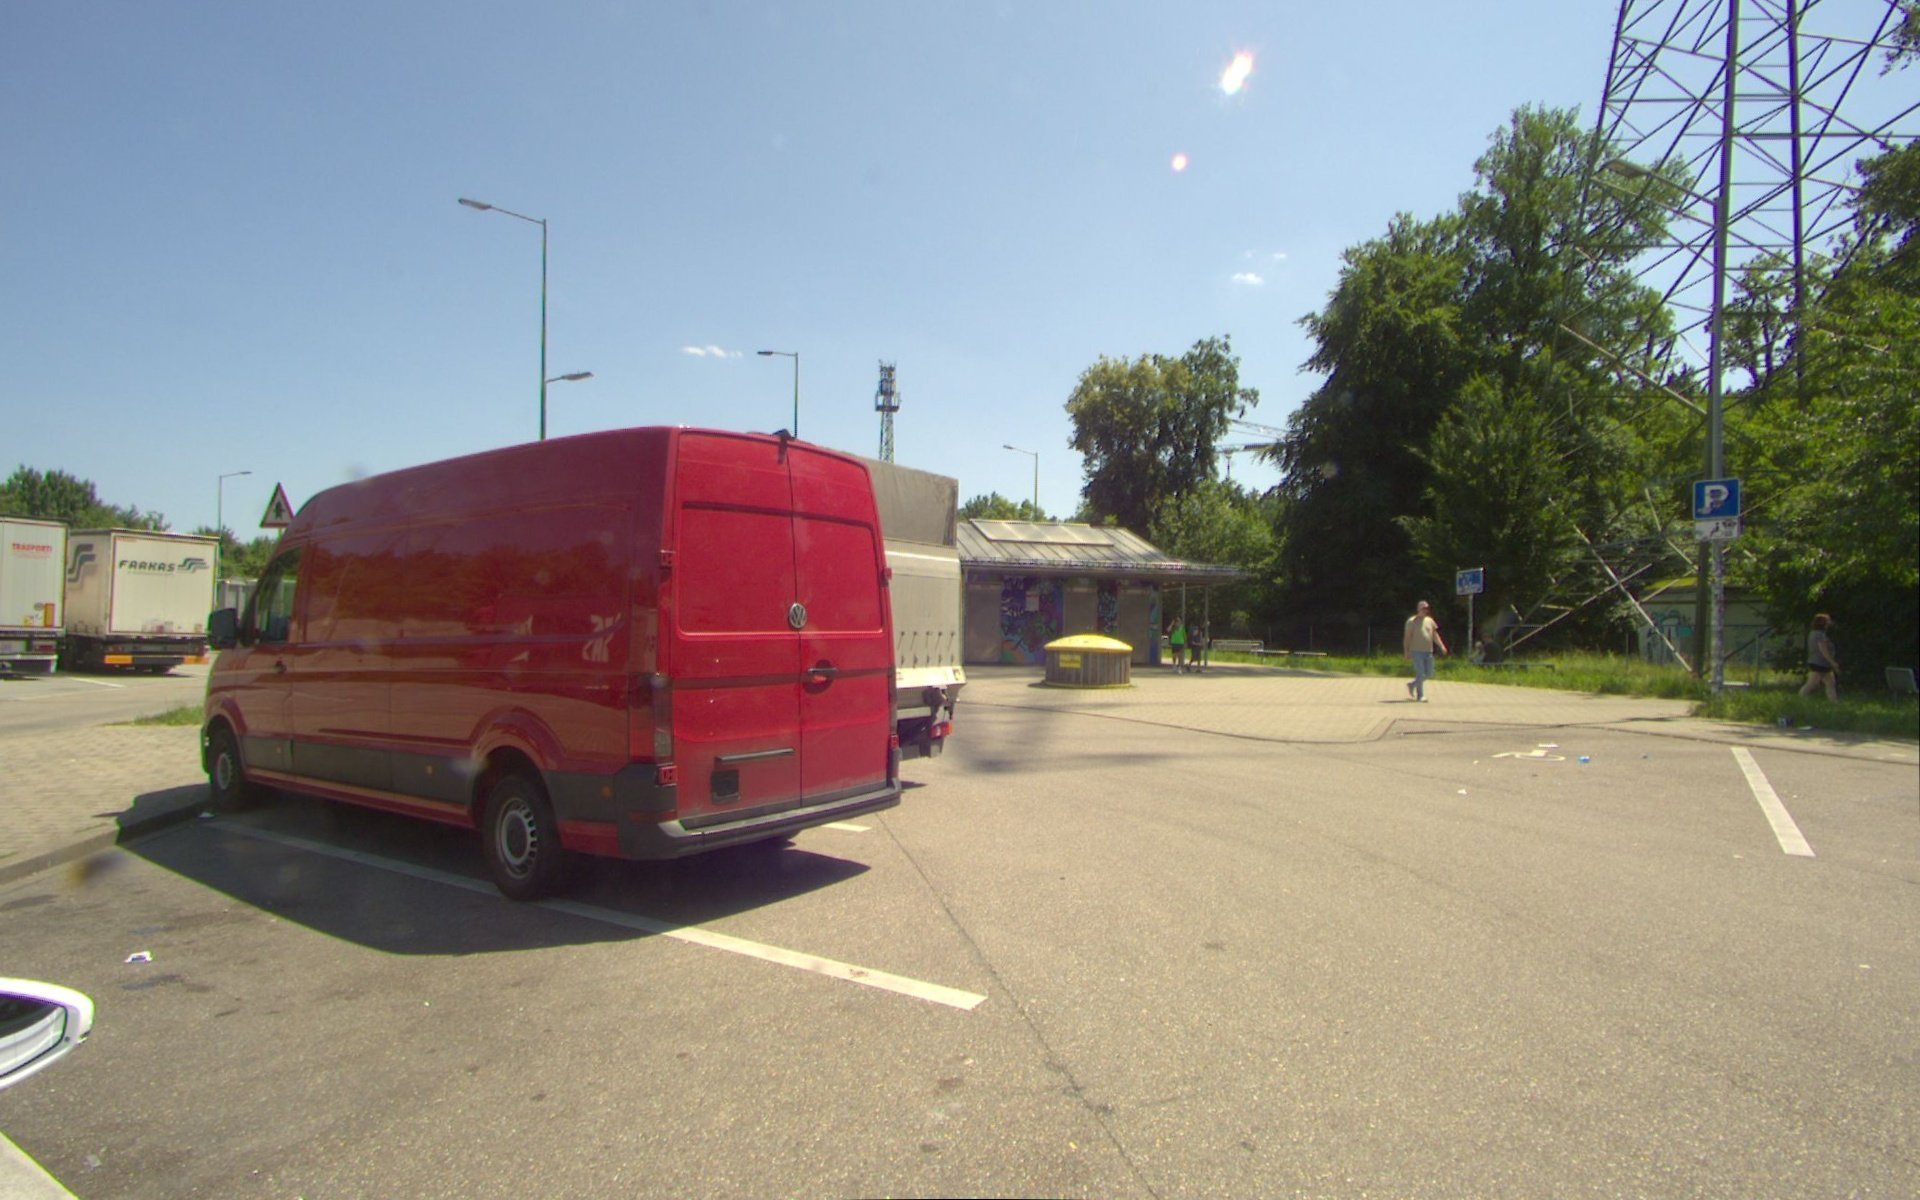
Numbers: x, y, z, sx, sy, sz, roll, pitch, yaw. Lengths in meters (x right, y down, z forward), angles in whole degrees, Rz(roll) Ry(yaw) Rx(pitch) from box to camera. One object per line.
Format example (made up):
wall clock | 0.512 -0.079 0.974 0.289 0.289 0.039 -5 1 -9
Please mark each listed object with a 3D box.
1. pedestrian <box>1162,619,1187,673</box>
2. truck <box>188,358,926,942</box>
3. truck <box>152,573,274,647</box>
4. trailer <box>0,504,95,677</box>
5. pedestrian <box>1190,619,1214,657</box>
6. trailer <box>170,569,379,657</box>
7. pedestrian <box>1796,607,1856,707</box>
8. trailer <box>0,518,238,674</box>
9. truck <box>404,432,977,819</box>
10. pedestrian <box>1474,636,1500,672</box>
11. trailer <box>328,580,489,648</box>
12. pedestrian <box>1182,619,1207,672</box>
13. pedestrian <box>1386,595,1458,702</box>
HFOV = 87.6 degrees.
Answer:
pedestrian | 5.579 1.203 26.069 0.532 1.392 0.583 0 -1 0
truck | -3.346 0.304 7.329 6.372 2.685 2.005 -1 -2 37
truck | -37.556 0.482 50.316 5.887 3.406 2.862 1 -2 32
trailer | -28.695 -0.337 28.015 13.561 4.162 2.854 1 -2 32
pedestrian | 10.705 1.671 44.346 0.802 1.639 0.916 -1 -1 31
trailer | -32.484 0.491 47.092 13.561 3.646 2.854 1 -2 32
pedestrian | 14.806 0.965 17.120 0.681 1.670 0.708 1 -2 -44
trailer | -27.622 -0.164 31.602 13.561 4.162 2.854 1 -2 32
truck | -3.095 0.276 10.514 6.372 2.944 2.411 -1 -2 37
pedestrian | 14.635 1.498 27.808 0.439 0.987 0.460 0 -1 -19
trailer | -36.177 0.855 65.331 13.561 3.955 2.854 1 -2 32
pedestrian | 6.234 1.209 26.640 0.532 1.392 0.583 0 -1 0
pedestrian | 8.583 0.898 18.616 0.799 1.929 0.920 0 -1 -15
